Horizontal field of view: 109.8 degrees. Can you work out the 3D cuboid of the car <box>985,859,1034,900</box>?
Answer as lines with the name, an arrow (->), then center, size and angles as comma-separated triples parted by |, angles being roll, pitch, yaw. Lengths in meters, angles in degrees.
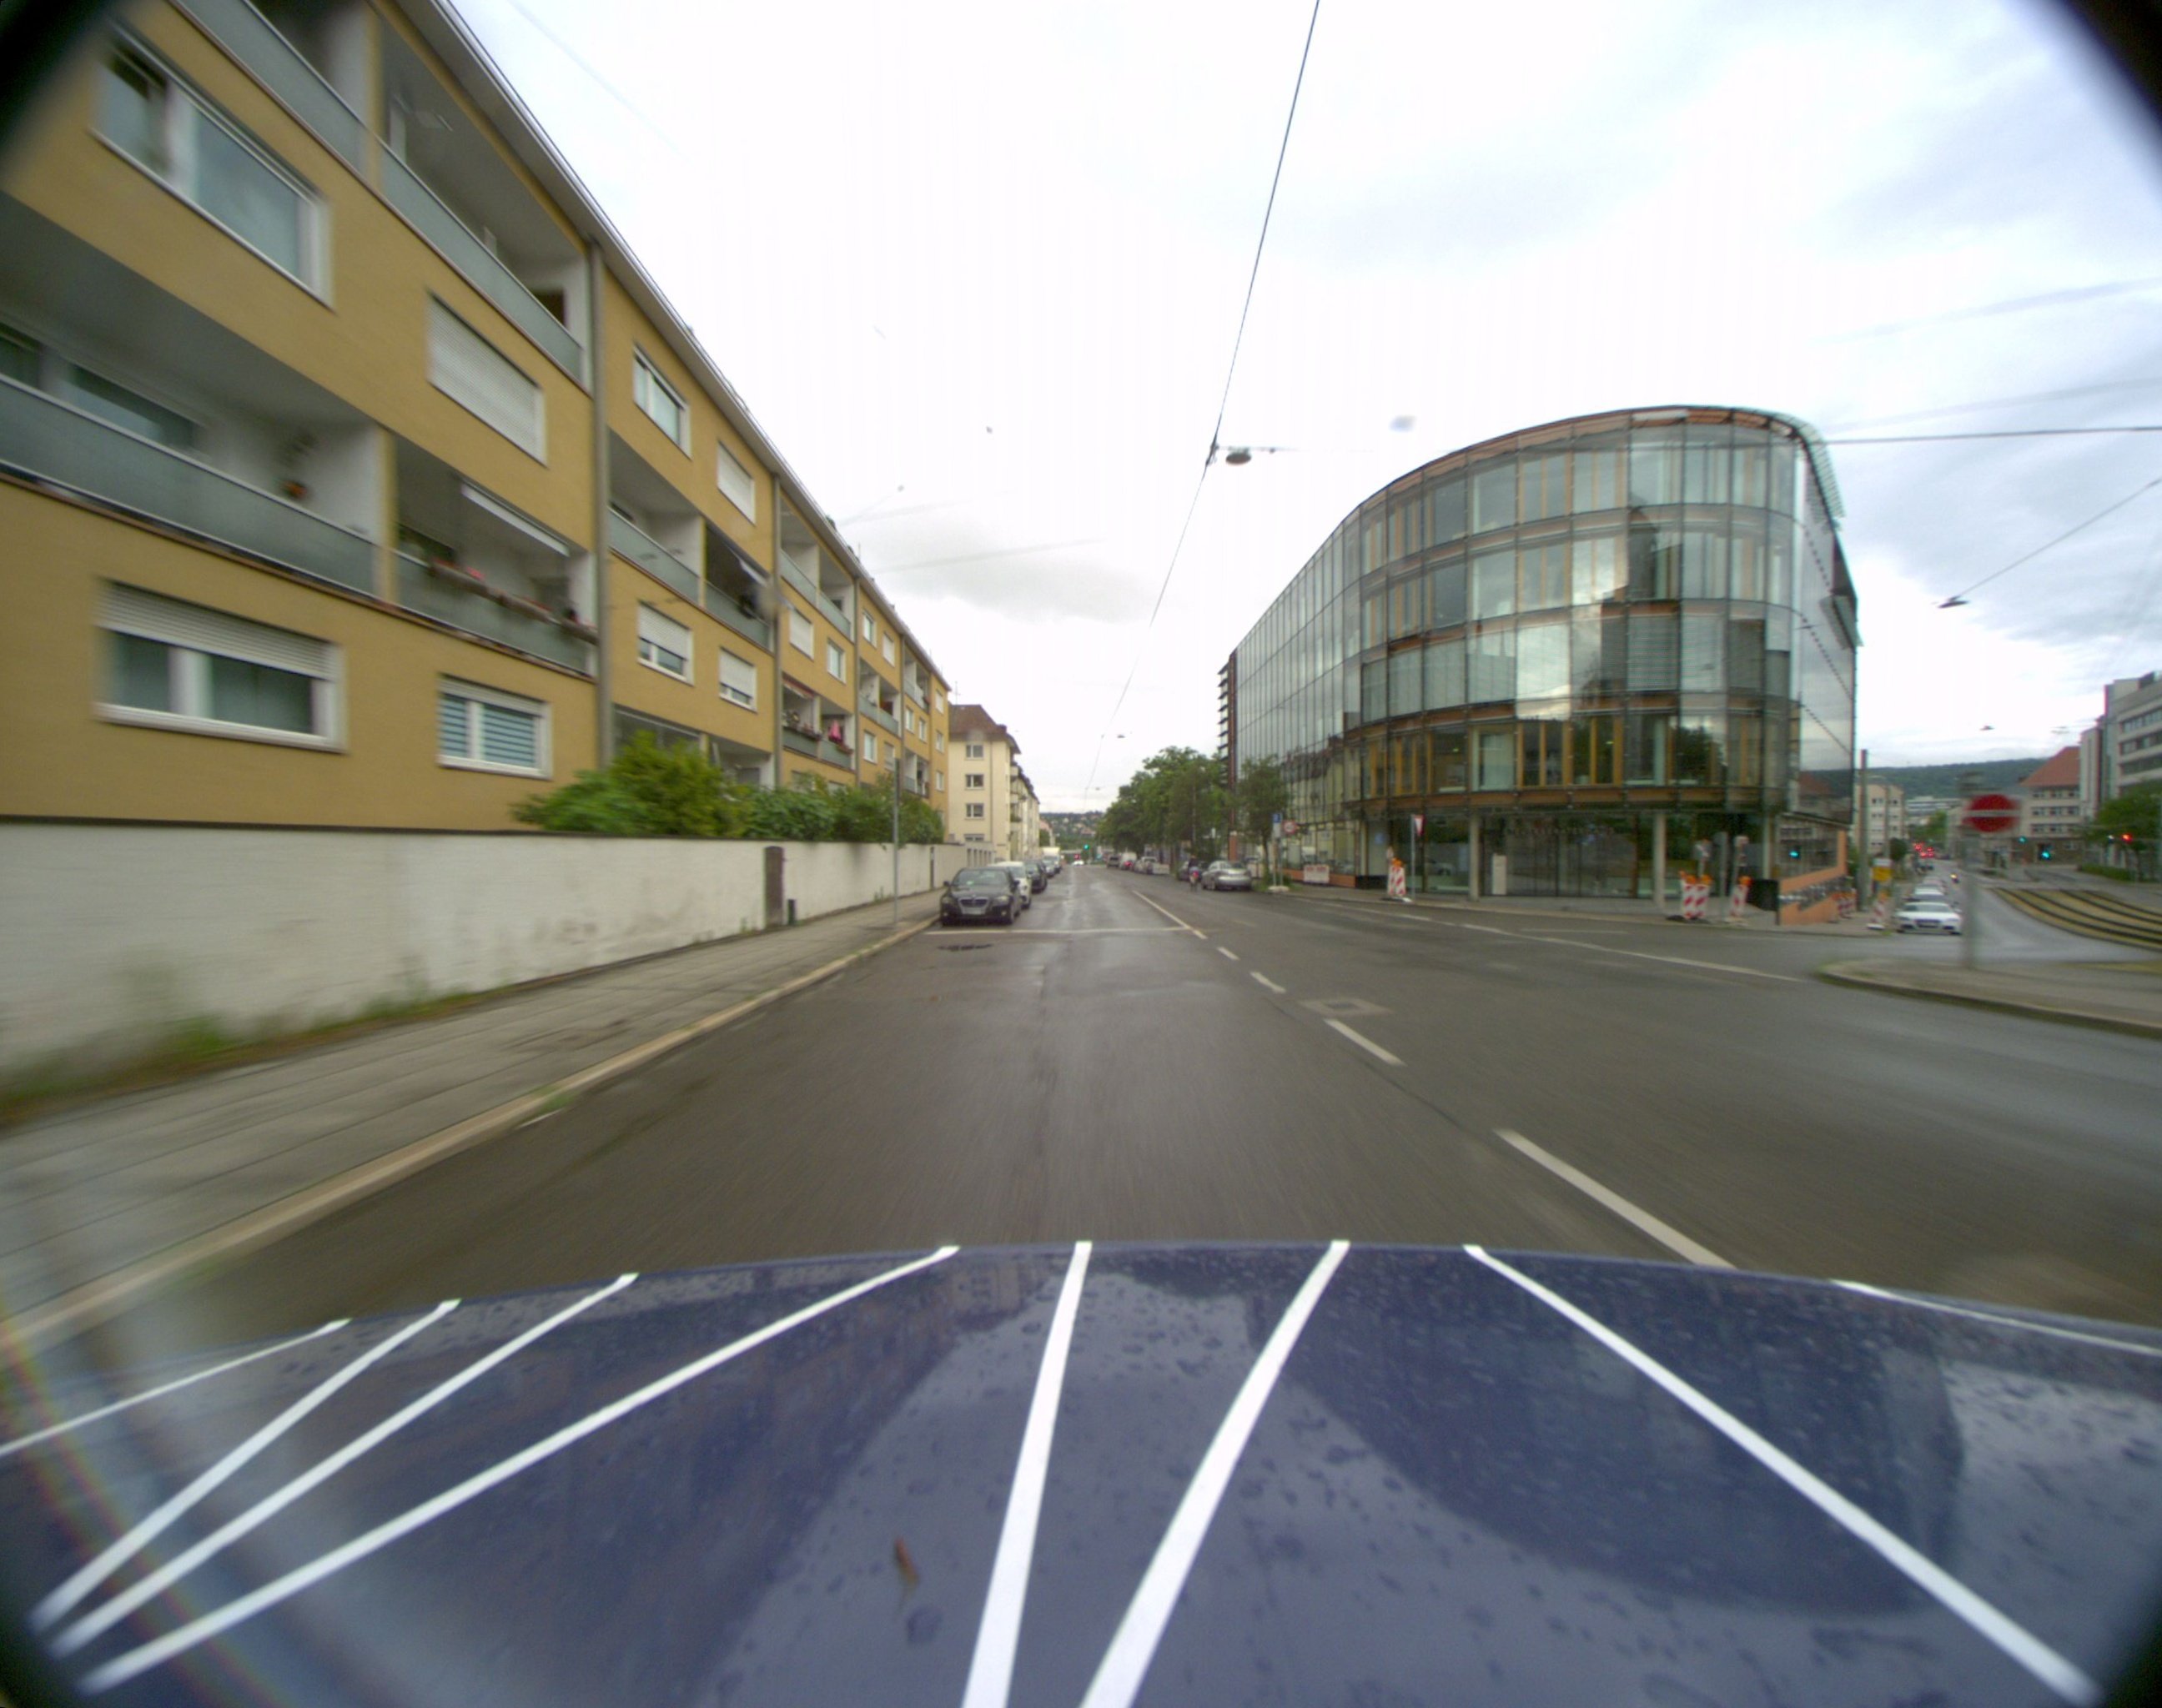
car -> -2.875, 1.006, 31.130 | 1.690, 1.445, 3.552 | -1, 1, -1

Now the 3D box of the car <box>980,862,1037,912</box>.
car -> -2.370, 1.027, 25.537 | 1.652, 1.451, 4.101 | -1, 0, -2

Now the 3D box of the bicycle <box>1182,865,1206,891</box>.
bicycle -> 5.422, 1.151, 36.555 | 0.826, 1.142, 2.126 | 0, 1, 0

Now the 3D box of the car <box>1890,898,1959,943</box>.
car -> 36.781, 2.825, 33.154 | 4.007, 1.488, 1.912 | -2, 2, -42

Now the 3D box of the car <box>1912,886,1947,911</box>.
car -> 71.420, 3.681, 63.974 | 4.007, 1.740, 1.912 | -2, 2, -42

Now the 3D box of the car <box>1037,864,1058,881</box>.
car -> -2.978, 1.652, 68.629 | 1.741, 1.370, 3.969 | -1, 1, -1

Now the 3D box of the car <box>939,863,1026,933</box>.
car -> -2.460, 1.043, 19.975 | 1.734, 1.451, 4.476 | -1, 1, -1

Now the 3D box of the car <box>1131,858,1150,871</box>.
car -> 7.237, 1.304, 93.324 | 1.881, 1.456, 3.516 | 0, 1, -3

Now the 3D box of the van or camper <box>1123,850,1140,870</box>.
van or camper -> 7.153, 0.826, 108.580 | 2.143, 2.588, 5.549 | -1, 1, 1

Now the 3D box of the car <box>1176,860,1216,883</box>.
car -> 7.893, 1.195, 52.534 | 1.728, 1.455, 4.328 | 1, 0, -5

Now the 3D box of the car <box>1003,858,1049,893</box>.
car -> -2.593, 0.994, 36.813 | 1.916, 1.418, 4.450 | -1, 1, -1

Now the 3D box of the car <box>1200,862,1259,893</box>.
car -> 7.179, 1.095, 37.141 | 1.863, 1.386, 4.644 | 0, 0, -1

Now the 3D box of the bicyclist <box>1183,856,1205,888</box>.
bicyclist -> 5.419, 0.858, 36.525 | 0.826, 1.453, 1.140 | -1, 2, 0

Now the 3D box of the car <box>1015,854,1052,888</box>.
car -> -2.576, 0.907, 42.281 | 1.806, 1.637, 4.574 | -1, 1, -1

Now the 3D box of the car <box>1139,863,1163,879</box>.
car -> 7.056, 1.693, 76.999 | 1.881, 1.390, 3.998 | 0, 1, -3

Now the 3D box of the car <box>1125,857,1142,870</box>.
car -> 7.078, 1.269, 102.599 | 1.999, 1.565, 3.998 | -1, 1, -1

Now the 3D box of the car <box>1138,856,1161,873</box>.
car -> 7.400, 1.080, 82.140 | 1.881, 1.699, 3.998 | 0, 1, -3

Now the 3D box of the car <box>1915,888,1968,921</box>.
car -> 49.396, 2.883, 43.648 | 4.010, 1.739, 1.912 | 4, -2, -42

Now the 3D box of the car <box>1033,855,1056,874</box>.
car -> -3.016, 0.863, 62.986 | 1.741, 1.370, 3.837 | -1, 1, -1

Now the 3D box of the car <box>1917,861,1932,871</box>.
car -> 165.331, 2.354, 148.952 | 4.007, 1.740, 1.912 | -2, 2, -42

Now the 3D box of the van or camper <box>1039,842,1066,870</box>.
van or camper -> -3.273, 0.191, 88.669 | 2.754, 3.041, 7.029 | -1, 1, 0
